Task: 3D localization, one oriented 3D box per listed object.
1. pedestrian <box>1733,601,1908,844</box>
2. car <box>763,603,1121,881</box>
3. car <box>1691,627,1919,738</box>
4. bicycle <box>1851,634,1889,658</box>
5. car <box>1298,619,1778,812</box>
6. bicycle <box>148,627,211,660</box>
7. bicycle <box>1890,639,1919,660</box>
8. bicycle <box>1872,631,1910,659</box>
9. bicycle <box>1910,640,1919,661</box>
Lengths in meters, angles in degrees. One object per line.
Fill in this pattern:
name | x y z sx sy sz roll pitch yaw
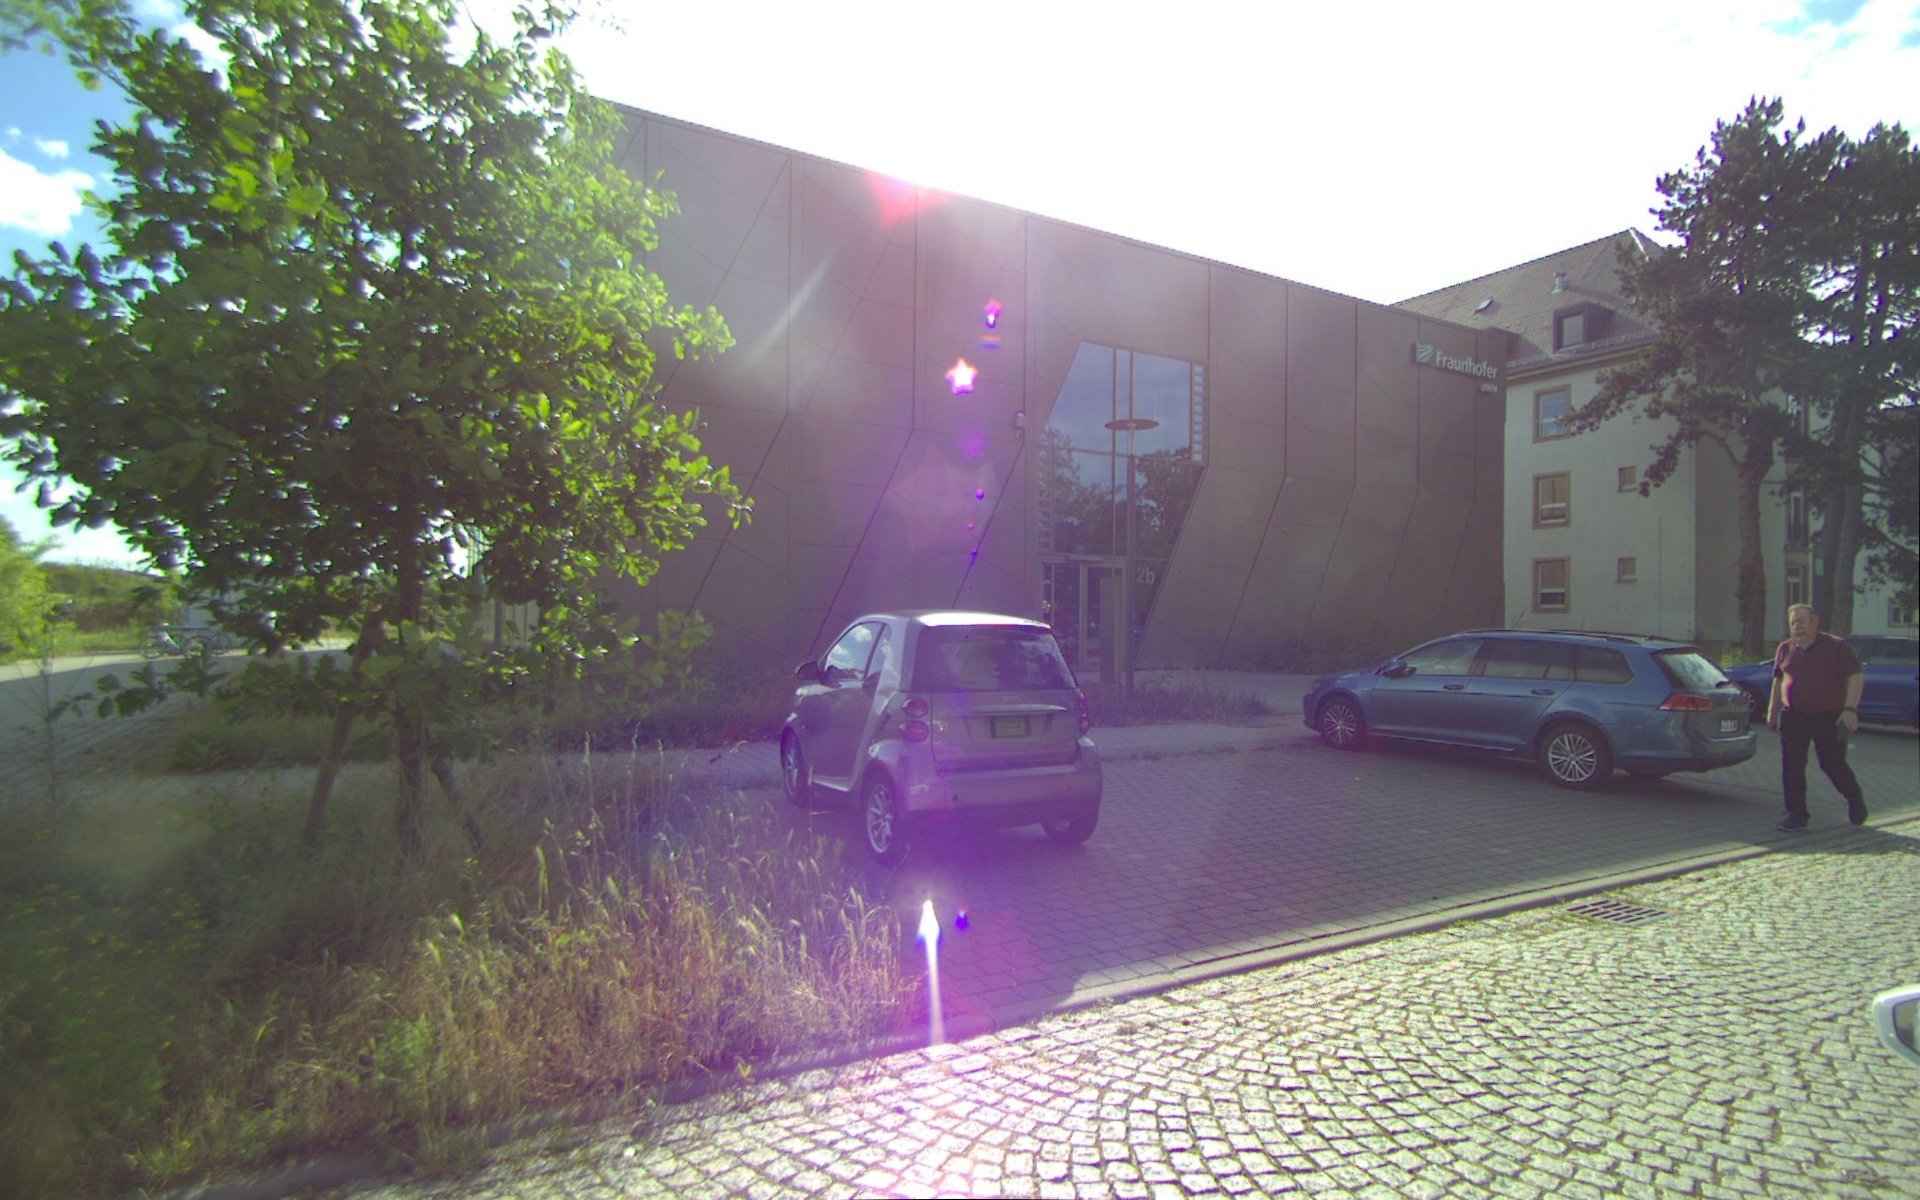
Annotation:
pedestrian | 6.939 0.924 8.106 1.141 1.795 0.799 1 -1 -34
car | -0.270 0.849 7.390 1.501 1.563 2.685 1 0 -30
car | 14.065 1.252 15.773 1.698 1.483 3.820 2 0 -28
bicycle | 49.128 2.480 54.206 2.524 1.298 0.822 1 -1 -30
car | 5.931 1.040 10.881 1.662 1.484 4.233 -1 1 -32
bicycle | -22.428 1.237 28.881 1.339 0.912 0.515 -1 0 -27
bicycle | 49.847 2.611 52.819 2.099 1.061 0.822 1 -1 -30
bicycle | 49.759 2.401 53.683 2.524 1.456 0.822 1 -1 -30
bicycle | 50.260 2.619 52.158 2.099 1.061 0.822 1 -1 -30
